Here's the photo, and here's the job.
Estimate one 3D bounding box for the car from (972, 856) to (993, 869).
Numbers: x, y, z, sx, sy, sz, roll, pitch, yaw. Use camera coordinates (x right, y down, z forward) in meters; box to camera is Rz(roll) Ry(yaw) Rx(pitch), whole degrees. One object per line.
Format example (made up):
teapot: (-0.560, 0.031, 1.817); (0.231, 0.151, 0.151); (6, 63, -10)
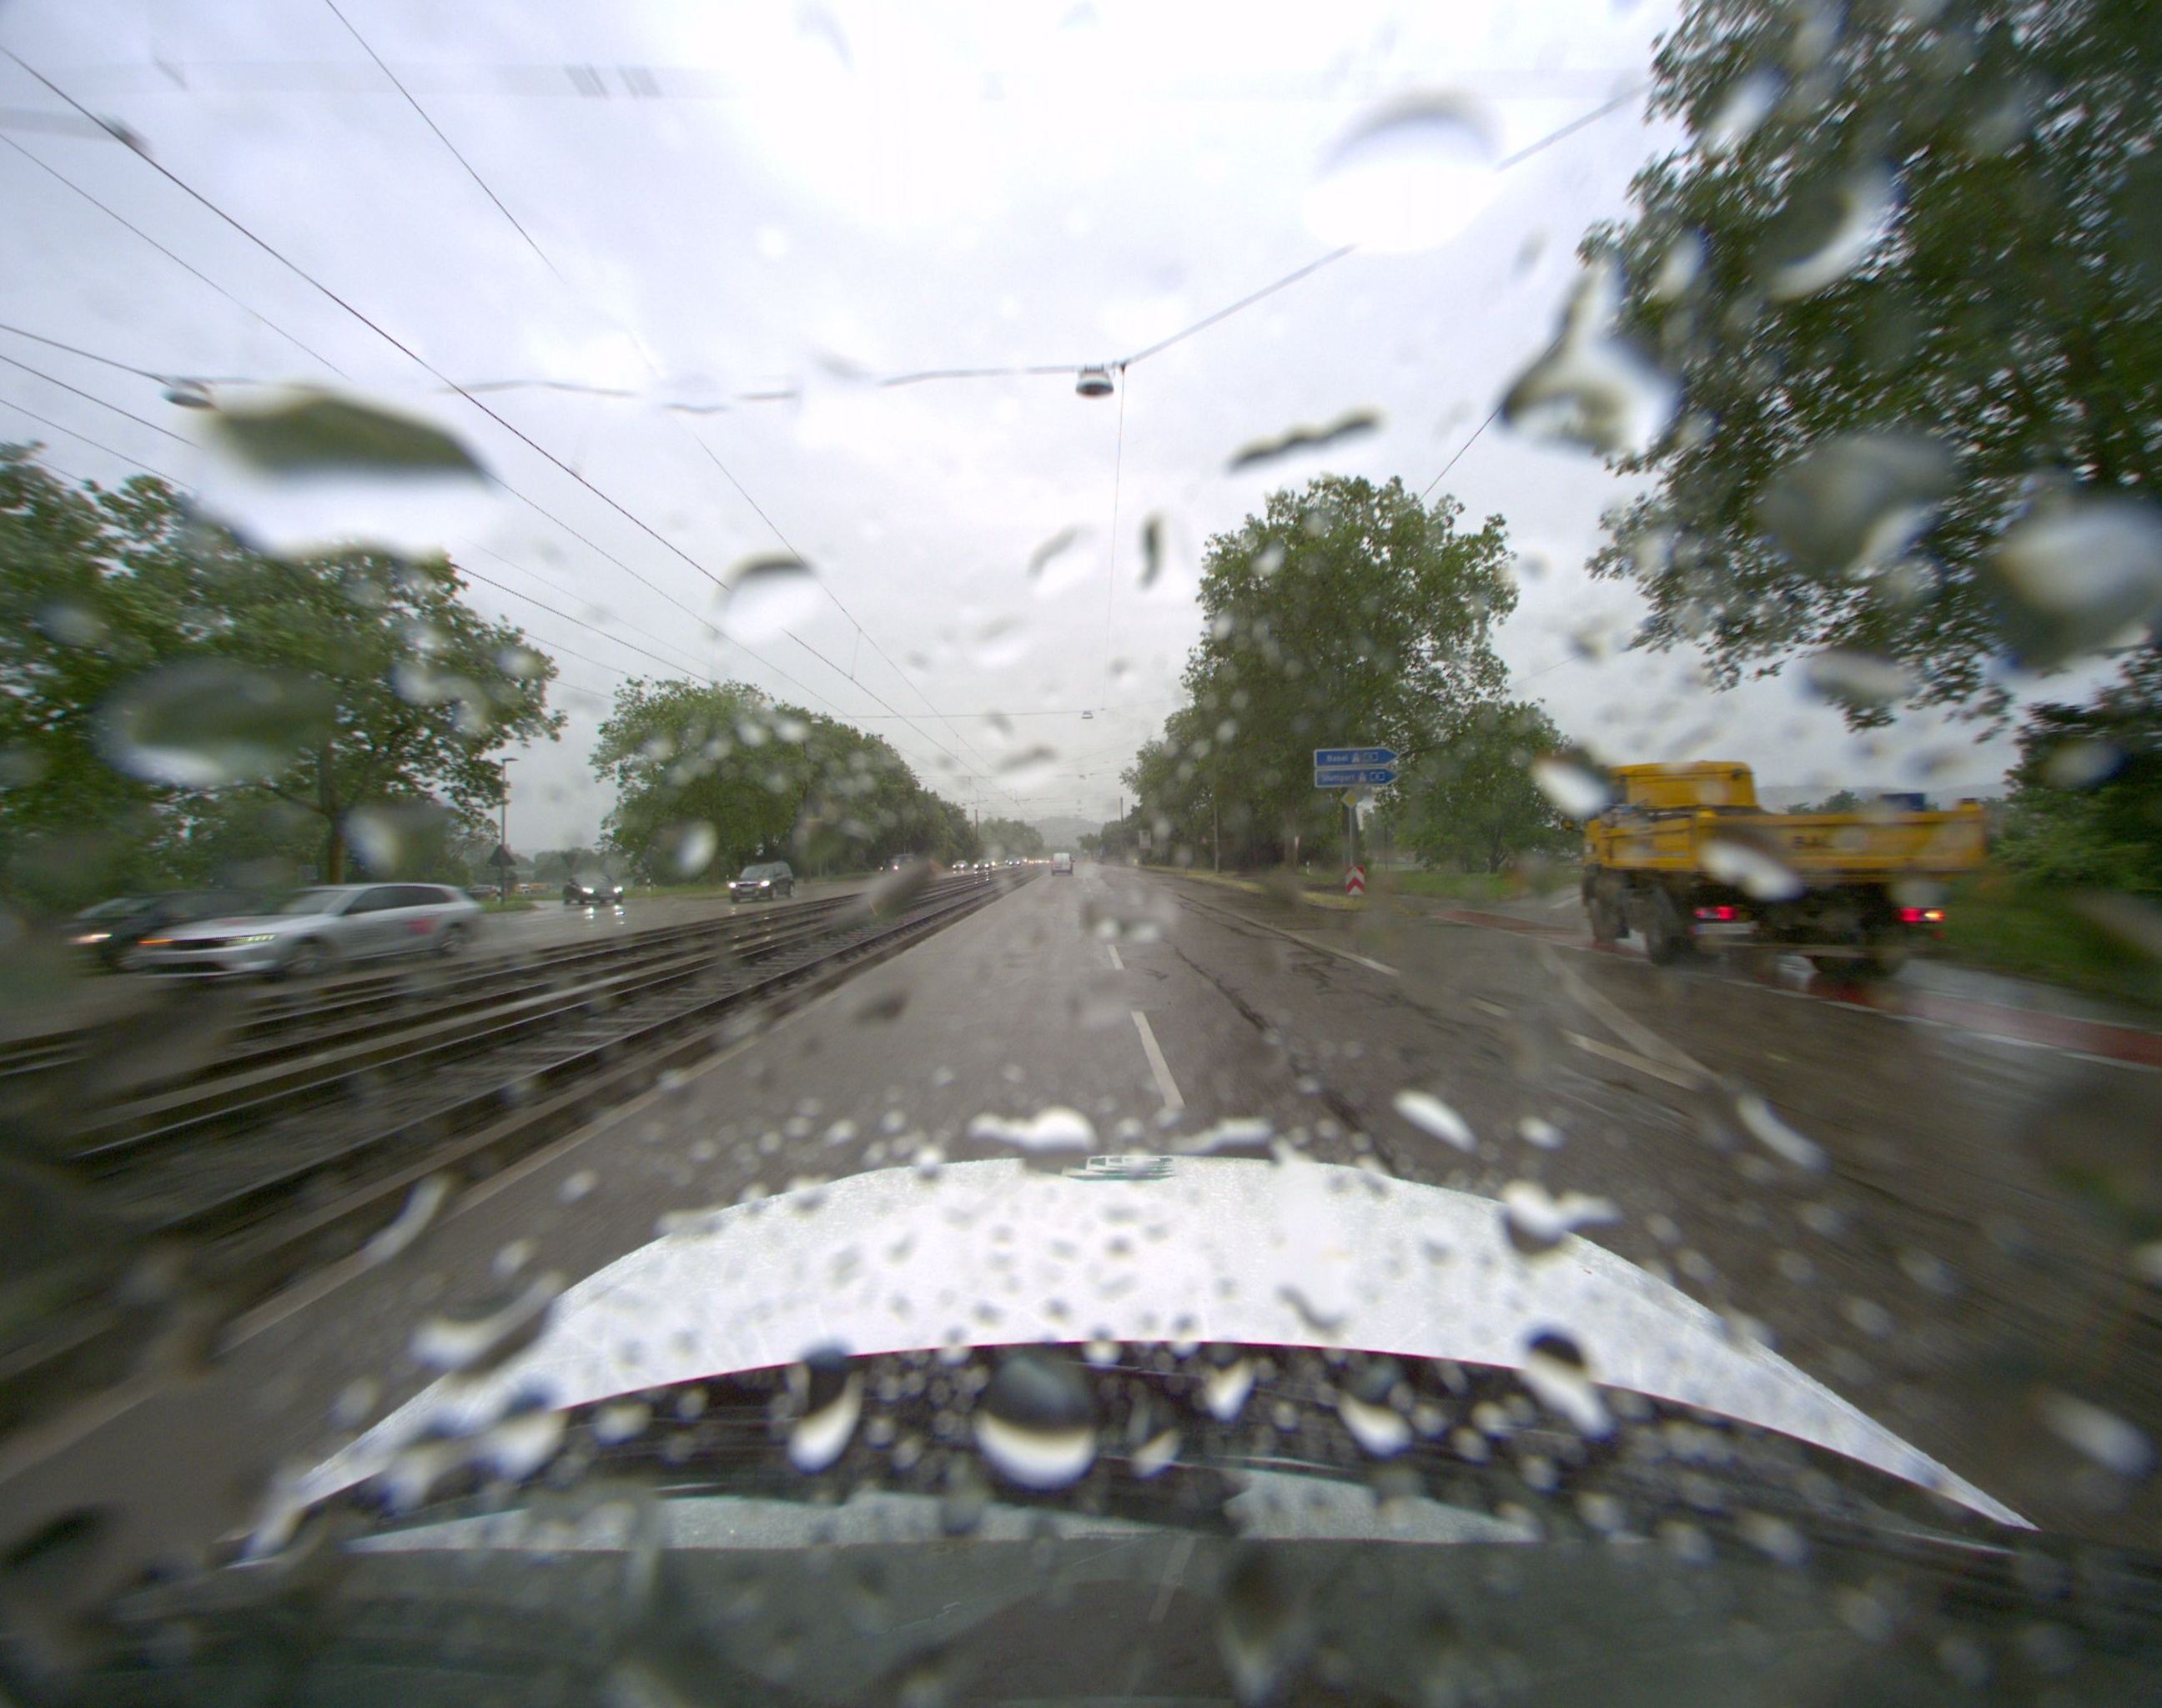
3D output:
car: (-12.915, 1.146, 107.221); (1.783, 1.549, 5.317); (0, 1, 3)

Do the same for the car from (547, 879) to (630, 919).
car: (-24.331, 2.158, 40.162); (4.590, 1.686, 1.859); (0, 1, 36)

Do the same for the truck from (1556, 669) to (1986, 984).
truck: (9.282, -0.345, 12.110); (2.535, 3.257, 6.967); (0, 1, 19)

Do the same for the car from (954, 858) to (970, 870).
car: (-18.240, 1.541, 124.993); (1.814, 1.705, 5.019); (0, 1, 0)

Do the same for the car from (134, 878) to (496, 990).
car: (-12.358, 1.181, 13.678); (1.736, 1.354, 4.545); (0, 1, 0)

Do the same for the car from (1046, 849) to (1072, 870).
car: (-1.776, 0.418, 67.494); (1.982, 1.684, 3.741); (0, 1, 1)

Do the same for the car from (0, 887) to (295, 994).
car: (-17.785, 1.516, 15.556); (1.684, 1.552, 3.999); (0, 1, -1)

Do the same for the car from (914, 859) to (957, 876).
car: (-17.252, 1.565, 96.876); (2.063, 1.798, 4.794); (0, 1, 39)

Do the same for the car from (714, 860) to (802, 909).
car: (-13.707, 1.237, 34.896); (1.882, 1.809, 5.001); (0, 1, -2)

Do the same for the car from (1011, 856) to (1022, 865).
car: (-11.924, 1.145, 151.001); (1.770, 1.585, 5.680); (0, 1, -1)

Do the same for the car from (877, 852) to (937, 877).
car: (-17.782, 1.034, 83.267); (2.309, 2.425, 5.886); (0, 1, 38)
